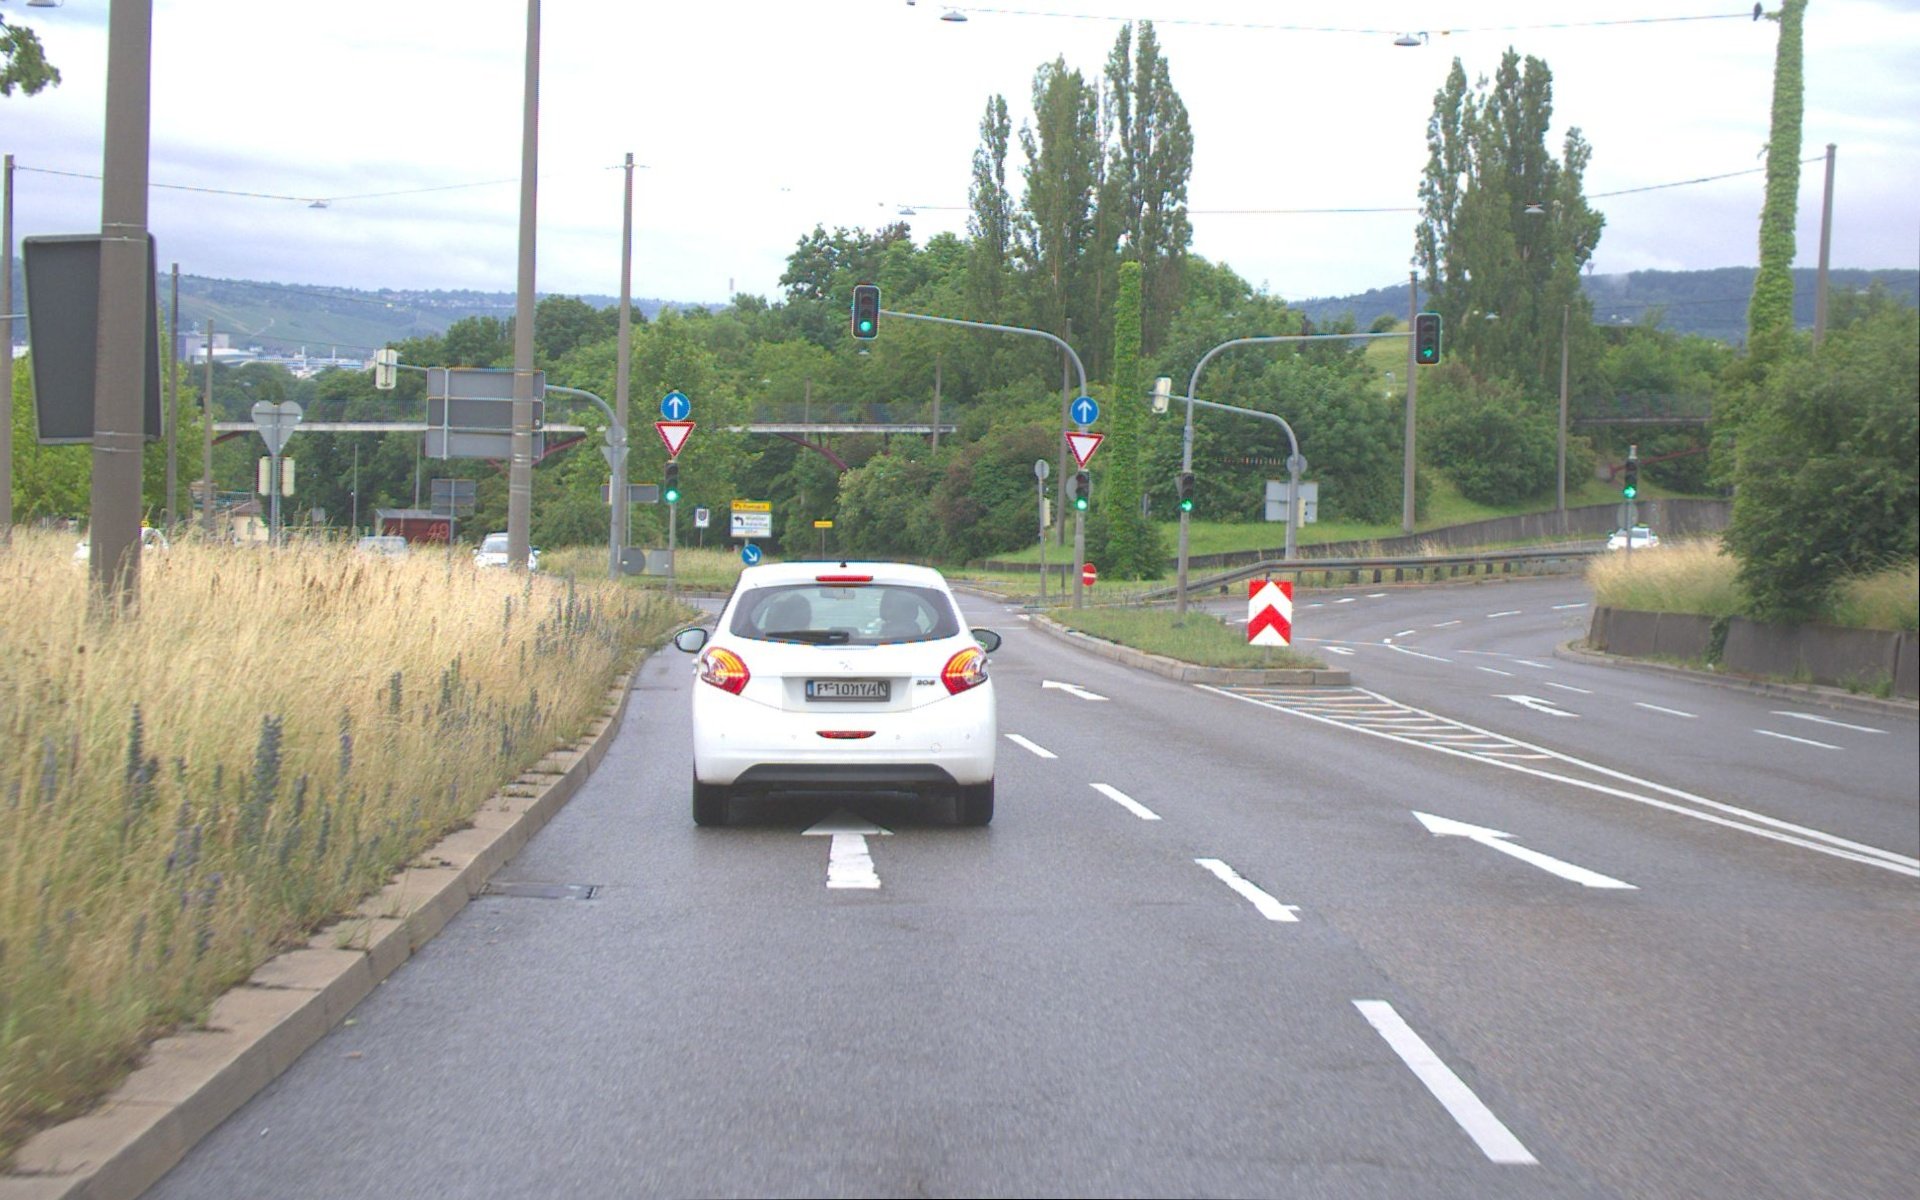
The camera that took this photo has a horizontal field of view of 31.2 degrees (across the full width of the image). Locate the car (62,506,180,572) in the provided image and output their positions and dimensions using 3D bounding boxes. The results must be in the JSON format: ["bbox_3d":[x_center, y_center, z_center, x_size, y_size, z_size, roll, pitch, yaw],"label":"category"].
[{"bbox_3d":[-21.949,-1.579,90.062,1.885,1.606,4.676,2,0,0],"label":"car"}]

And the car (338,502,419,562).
[{"bbox_3d":[-16.220,-1.873,95.990,1.895,1.532,4.001,1,0,-5],"label":"car"}]

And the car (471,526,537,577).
[{"bbox_3d":[-13.019,-1.371,98.300,1.737,1.368,4.001,1,0,-6],"label":"car"}]

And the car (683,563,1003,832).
[{"bbox_3d":[-0.644,0.514,20.189,1.708,1.435,3.690,0,0,-1],"label":"car"}]
